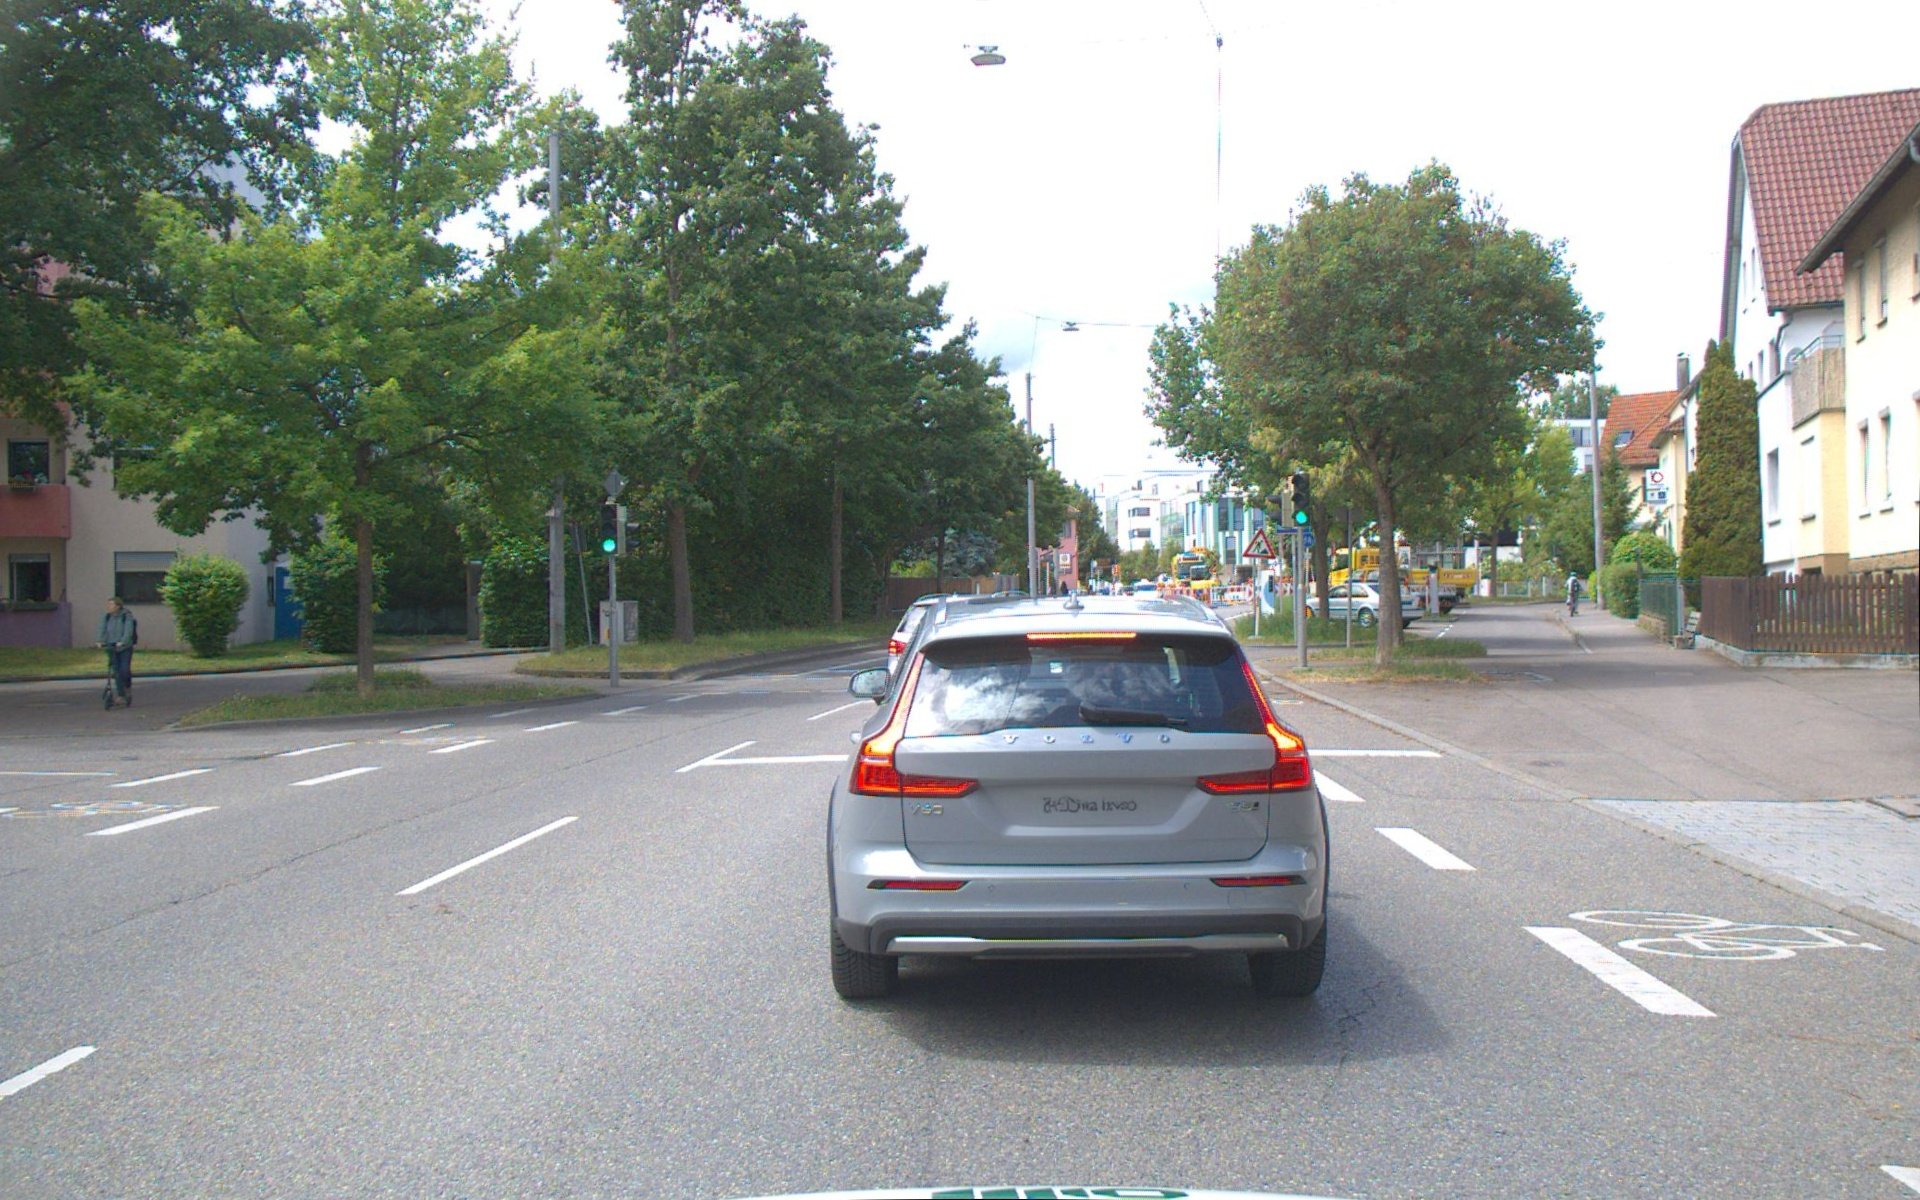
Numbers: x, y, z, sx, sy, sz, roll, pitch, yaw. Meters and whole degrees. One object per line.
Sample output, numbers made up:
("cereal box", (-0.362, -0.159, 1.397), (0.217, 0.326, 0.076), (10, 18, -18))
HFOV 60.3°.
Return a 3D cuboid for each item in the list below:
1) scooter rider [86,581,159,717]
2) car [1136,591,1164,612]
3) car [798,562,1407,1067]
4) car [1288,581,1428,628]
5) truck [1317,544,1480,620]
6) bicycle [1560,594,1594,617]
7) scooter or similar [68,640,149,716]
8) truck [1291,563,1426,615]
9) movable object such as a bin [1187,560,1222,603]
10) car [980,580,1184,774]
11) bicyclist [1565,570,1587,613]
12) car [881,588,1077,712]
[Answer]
("scooter rider", (-12.838, 0.742, 25.367), (0.663, 2.049, 0.794), (1, -1, -1))
("car", (13.430, 0.100, 116.751), (1.789, 1.353, 4.003), (1, -2, 9))
("car", (0.505, 0.666, 7.175), (1.888, 1.567, 4.001), (-1, 0, 2))
("car", (13.034, 0.123, 54.427), (1.745, 1.477, 4.638), (-1, 1, -32))
("truck", (18.714, -0.758, 70.960), (2.737, 3.061, 6.626), (2, -1, -34))
("bicycle", (23.171, 0.204, 62.129), (0.582, 0.826, 1.753), (1, 0, -1))
("scooter or similar", (-13.016, 1.187, 25.304), (0.741, 1.102, 0.944), (1, -1, -1))
("truck", (16.597, -0.471, 69.193), (1.977, 2.049, 5.607), (2, -1, -35))
("movable object such as a bin", (16.206, -1.249, 109.404), (1.991, 2.689, 5.945), (-2, 0, 11))
("car", (1.064, 0.644, 15.390), (1.627, 1.534, 3.703), (2, 0, 2))
("bicyclist", (23.182, -0.305, 62.265), (0.577, 1.586, 0.566), (1, -1, -2))
("car", (0.369, 0.644, 22.730), (2.057, 1.536, 4.003), (0, -1, 10))
